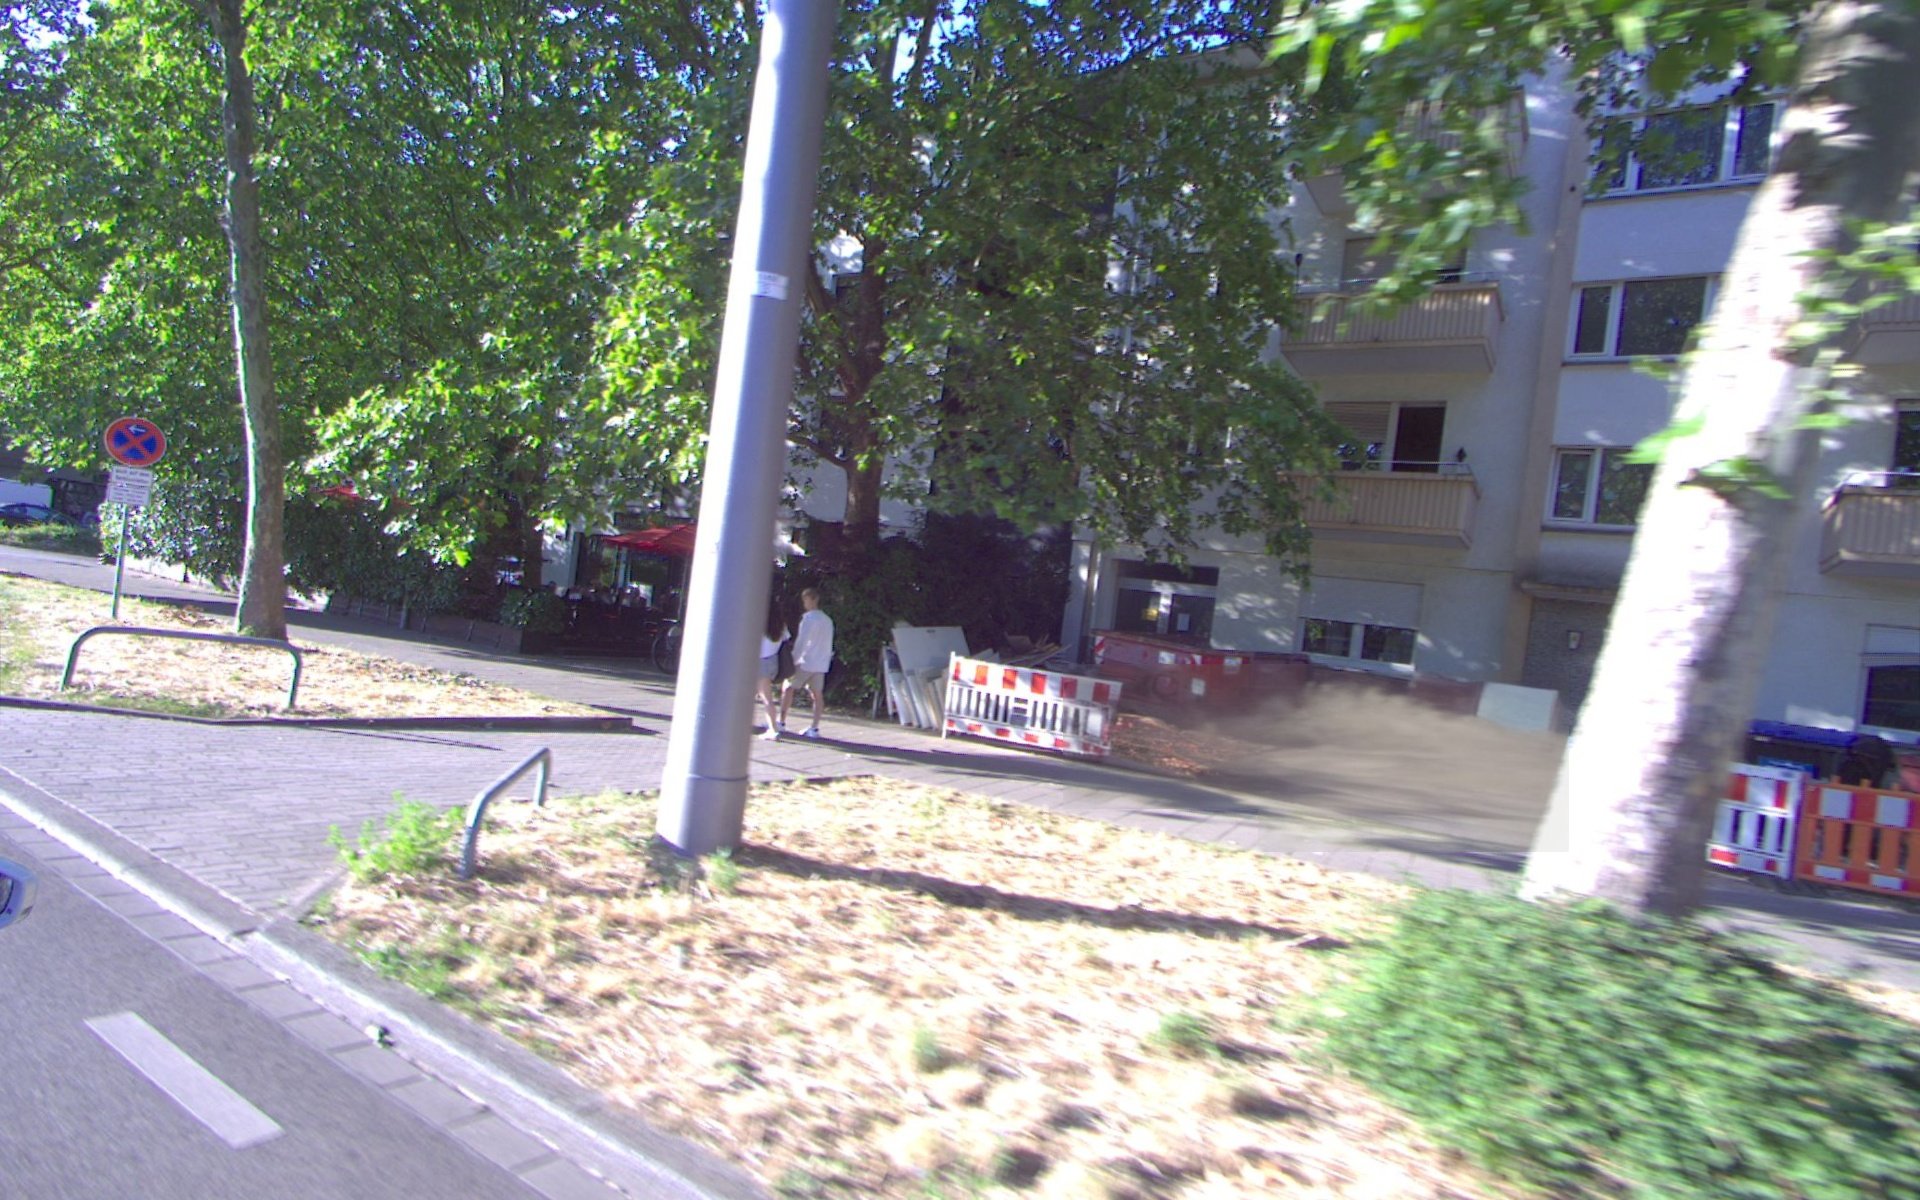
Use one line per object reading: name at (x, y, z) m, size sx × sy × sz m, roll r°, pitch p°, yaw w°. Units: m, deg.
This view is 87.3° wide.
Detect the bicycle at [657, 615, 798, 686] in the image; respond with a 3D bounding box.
bicycle at (-3.946, 0.890, 17.268) m, size 0.654 × 1.036 × 2.373 m, roll 7°, pitch -1°, yaw 39°

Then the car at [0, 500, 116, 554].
car at (-30.810, -2.488, 33.365) m, size 1.679 × 1.352 × 3.923 m, roll 6°, pitch -1°, yaw 34°

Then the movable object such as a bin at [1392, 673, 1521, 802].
movable object such as a bin at (6.249, 1.732, 12.663) m, size 1.288 × 1.451 × 0.831 m, roll 8°, pitch -1°, yaw -37°

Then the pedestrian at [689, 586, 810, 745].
pedestrian at (-2.315, 0.719, 11.094) m, size 0.802 × 1.591 × 0.792 m, roll 7°, pitch 0°, yaw 29°

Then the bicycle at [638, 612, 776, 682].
bicycle at (-4.478, 0.867, 18.012) m, size 0.654 × 1.036 × 2.373 m, roll 6°, pitch -2°, yaw 40°

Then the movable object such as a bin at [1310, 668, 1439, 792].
movable object such as a bin at (5.500, 1.726, 13.355) m, size 1.285 × 1.451 × 0.833 m, roll 8°, pitch -1°, yaw -30°

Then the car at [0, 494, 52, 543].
car at (-37.146, -3.271, 37.921) m, size 1.679 × 1.656 × 3.924 m, roll 6°, pitch -1°, yaw 33°

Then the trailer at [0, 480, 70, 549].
trailer at (-33.064, -3.059, 34.672) m, size 1.849 × 2.094 × 3.067 m, roll 7°, pitch -1°, yaw 35°

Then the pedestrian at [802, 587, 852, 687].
pedestrian at (-2.655, 0.724, 20.068) m, size 0.690 × 1.895 × 0.739 m, roll 7°, pitch 0°, yaw -15°

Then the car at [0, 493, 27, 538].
car at (-39.153, -3.535, 39.074) m, size 1.679 × 1.657 × 3.924 m, roll 6°, pitch -1°, yaw 33°

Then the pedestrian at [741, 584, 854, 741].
pedestrian at (-1.896, 0.726, 11.792) m, size 0.802 × 1.687 × 0.792 m, roll 7°, pitch 0°, yaw 29°
